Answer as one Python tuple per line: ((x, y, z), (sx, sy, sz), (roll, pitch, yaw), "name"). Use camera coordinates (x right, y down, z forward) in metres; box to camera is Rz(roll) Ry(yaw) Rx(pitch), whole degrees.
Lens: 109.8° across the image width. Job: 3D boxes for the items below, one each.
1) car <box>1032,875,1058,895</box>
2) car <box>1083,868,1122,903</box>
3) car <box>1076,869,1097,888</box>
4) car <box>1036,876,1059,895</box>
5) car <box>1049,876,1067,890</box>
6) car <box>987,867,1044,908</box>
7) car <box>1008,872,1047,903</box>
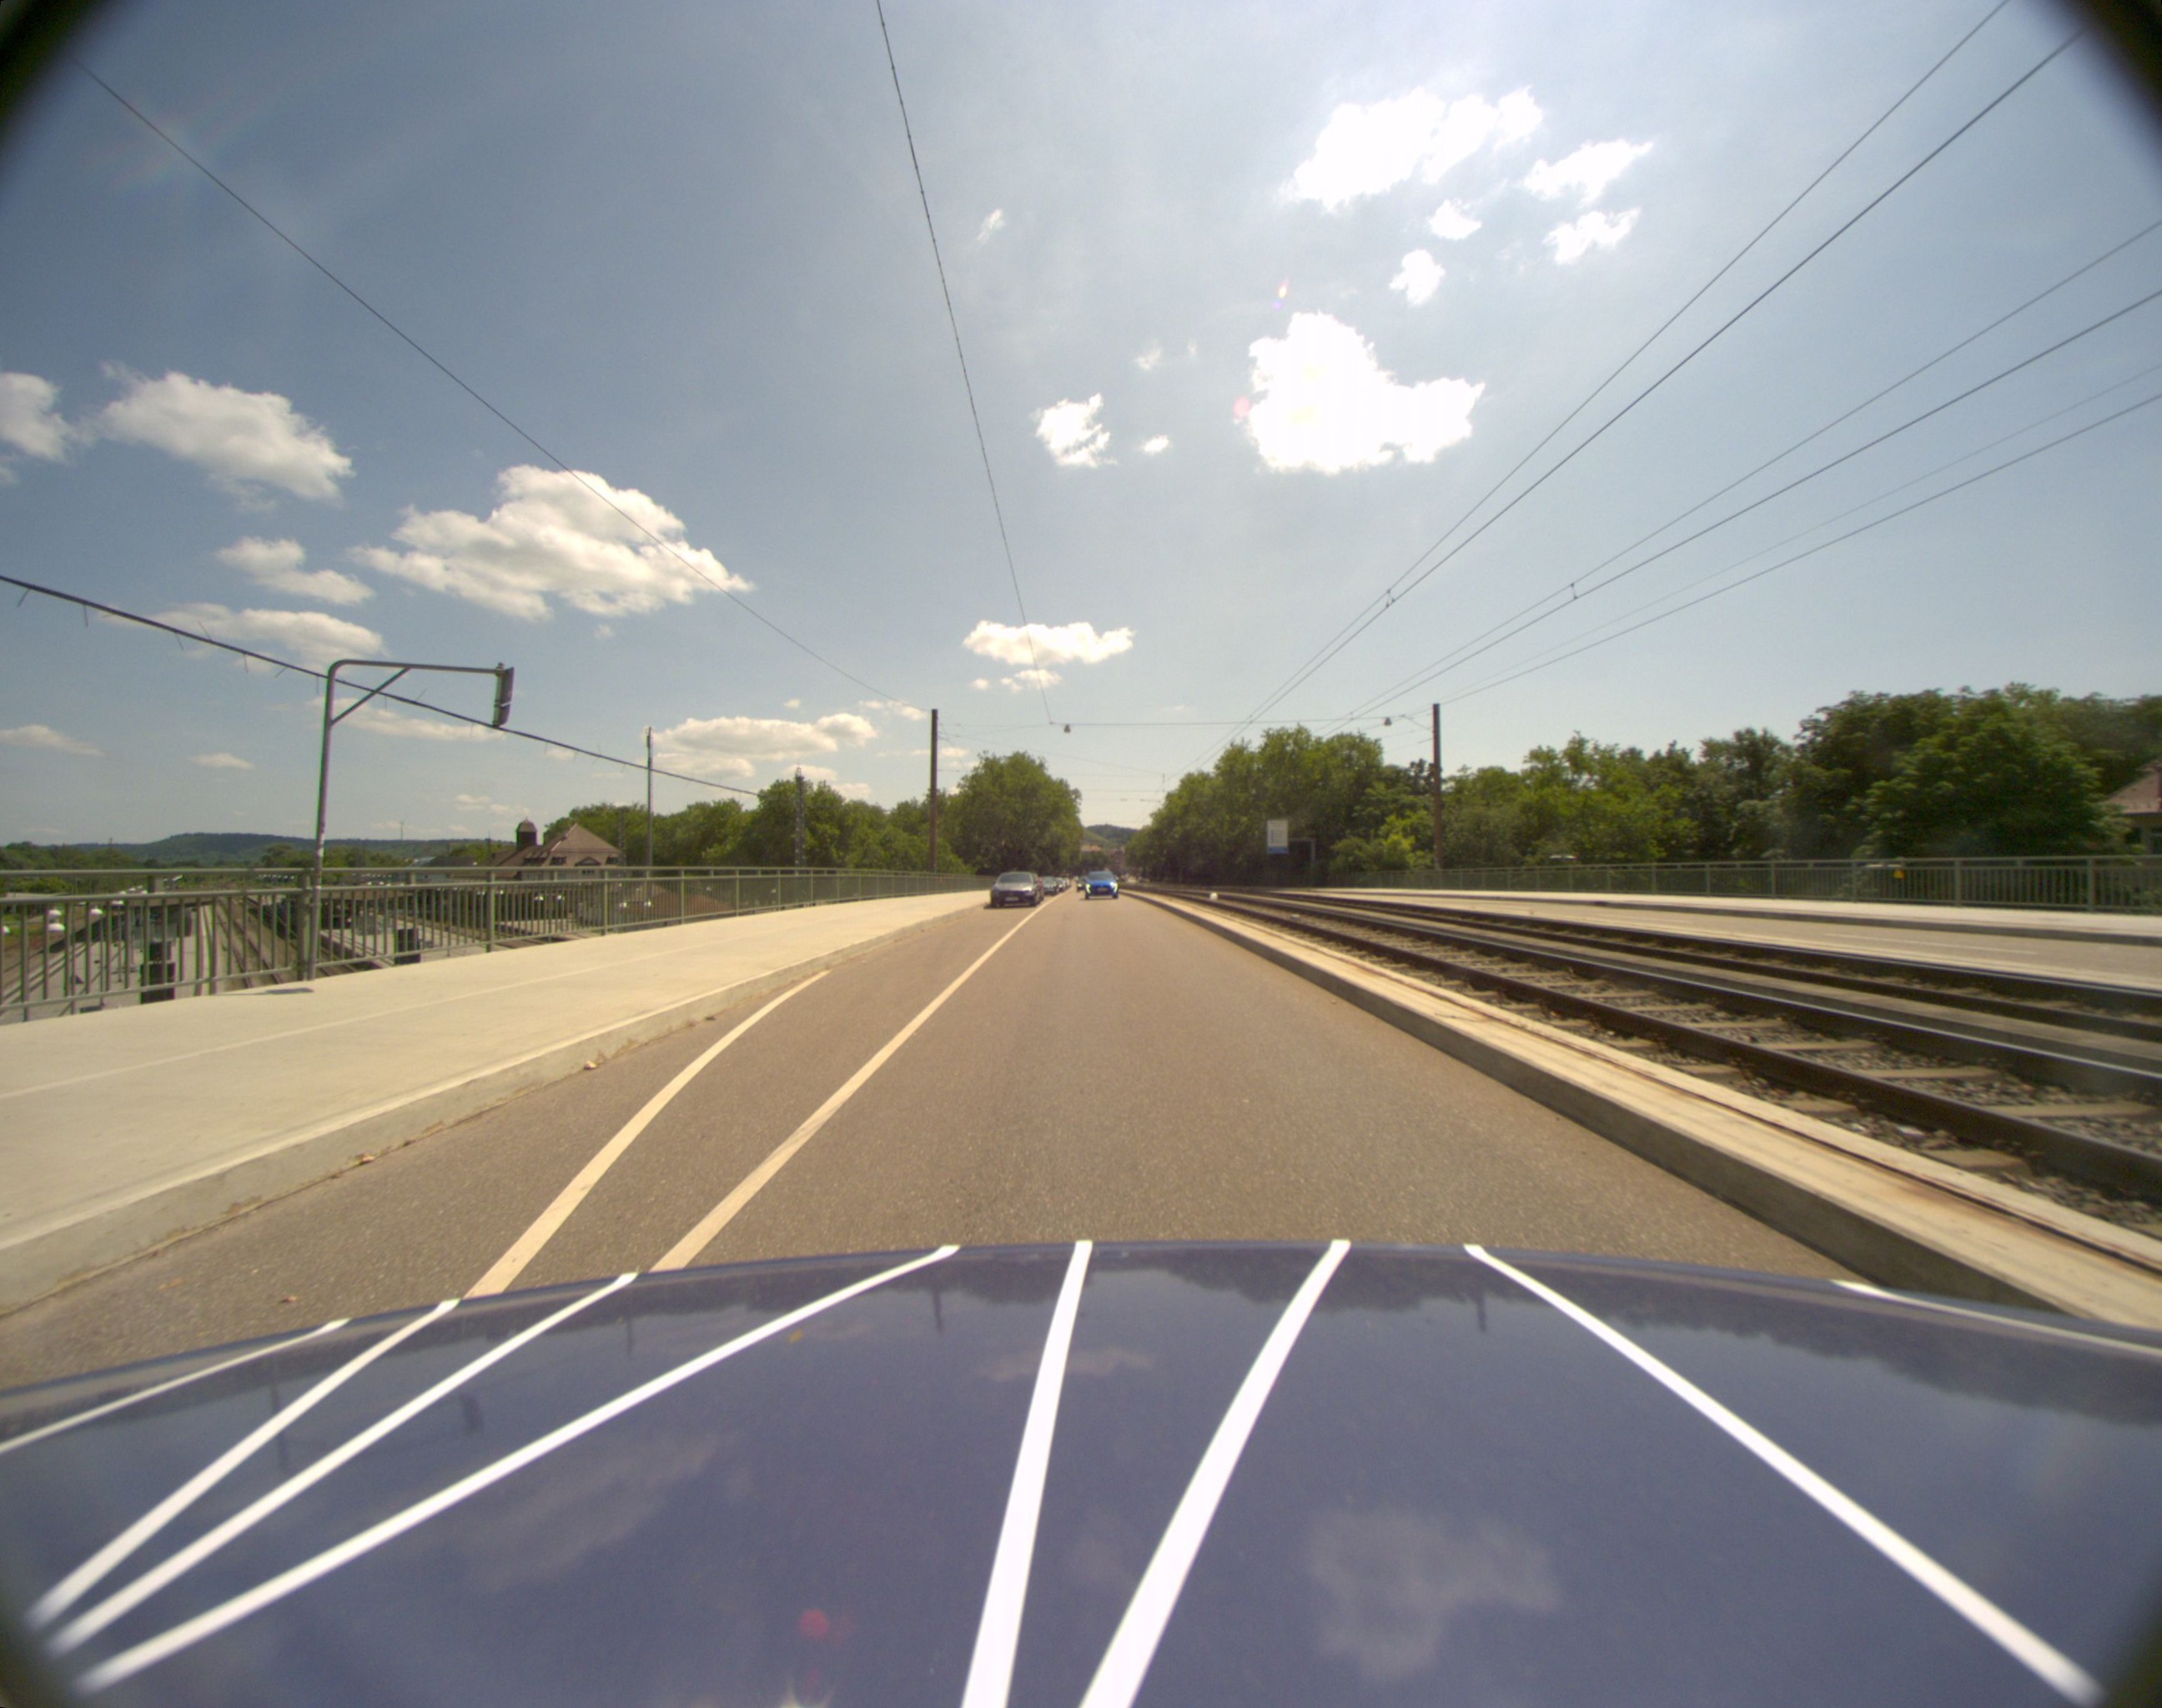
((-2.542, 2.200, 54.120), (1.689, 1.350, 4.593), (-2, -2, -2), "car")
((1.074, 1.590, 39.090), (1.865, 1.630, 4.001), (-2, -1, 1), "car")
((0.590, 2.358, 73.834), (1.797, 1.725, 3.769), (-3, -2, 3), "car")
((-2.631, 2.510, 60.935), (1.639, 1.444, 4.389), (-2, -2, 0), "car")
((-2.297, 2.883, 76.525), (1.759, 1.381, 3.700), (-1, -2, 0), "car")
((-2.651, 1.377, 31.771), (1.999, 1.542, 4.722), (-2, -2, -1), "car")
((-2.740, 1.729, 39.772), (1.651, 1.451, 4.286), (-2, -2, 0), "car")
